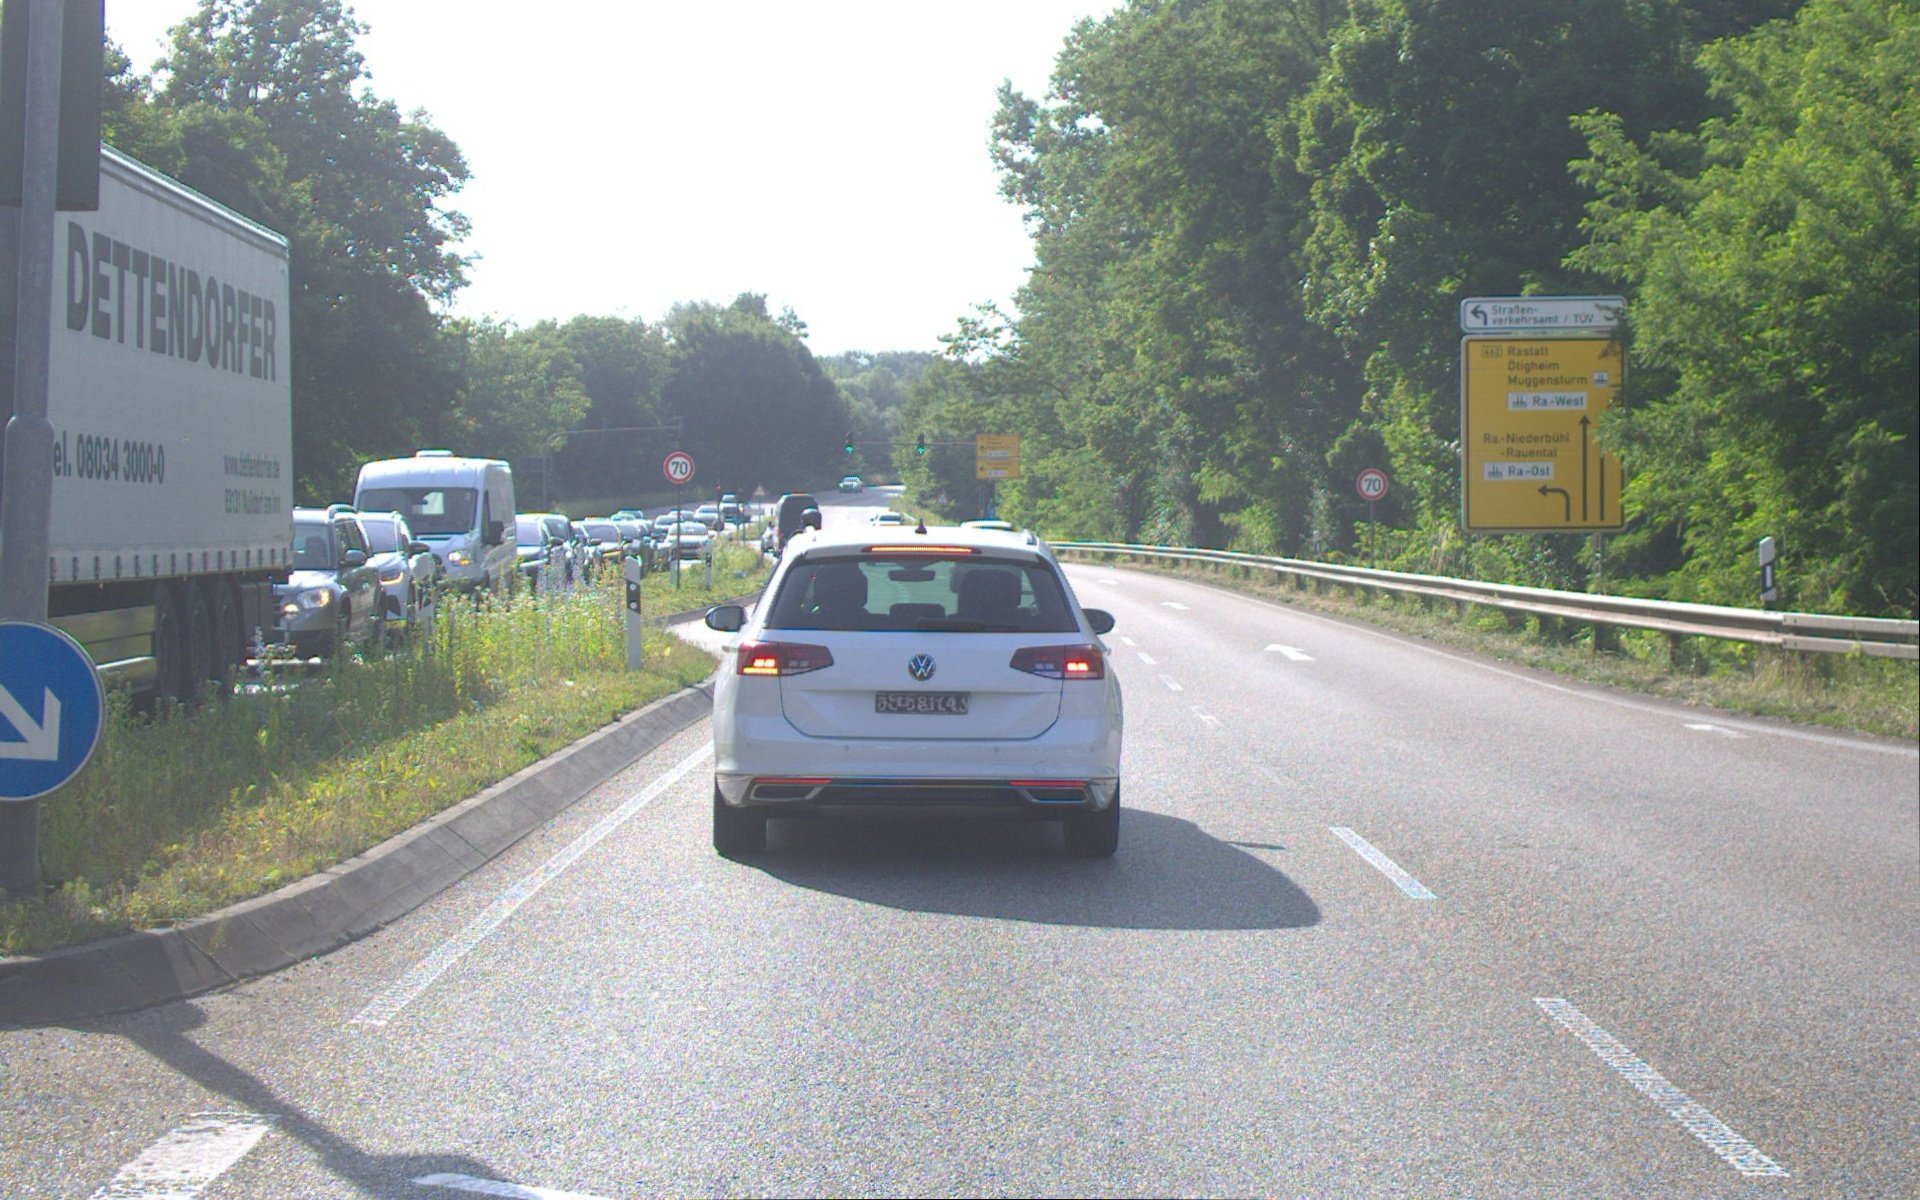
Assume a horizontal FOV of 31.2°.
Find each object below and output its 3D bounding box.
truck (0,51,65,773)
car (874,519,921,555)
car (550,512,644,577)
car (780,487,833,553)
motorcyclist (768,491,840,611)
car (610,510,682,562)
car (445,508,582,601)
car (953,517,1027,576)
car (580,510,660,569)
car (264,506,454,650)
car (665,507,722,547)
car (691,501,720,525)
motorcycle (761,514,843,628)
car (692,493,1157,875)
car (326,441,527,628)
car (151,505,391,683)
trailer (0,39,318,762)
[{"bbox_3d":[-6.643,-0.981,17.167,2.890,3.983,6.723,0,2,-3],"label":"truck"},{"bbox_3d":[-2.821,-2.833,154.845,1.744,1.532,3.927,1,2,-6],"label":"car"},{"bbox_3d":[-8.442,-1.316,80.323,1.771,1.418,5.193,-1,2,-1],"label":"car"},{"bbox_3d":[-6.849,-3.610,154.234,2.209,2.878,7.012,-1,2,-2],"label":"car"},{"bbox_3d":[-2.146,-0.689,47.439,0.884,1.610,1.290,2,2,1],"label":"motorcyclist"},{"bbox_3d":[-9.039,-1.872,99.227,1.767,1.412,4.435,-1,2,-1],"label":"car"},{"bbox_3d":[-7.516,-0.807,58.241,1.760,1.451,5.186,-1,2,-1],"label":"car"},{"bbox_3d":[0.742,-1.374,87.139,1.761,1.375,3.972,1,2,-1],"label":"car"},{"bbox_3d":[-8.610,-1.555,87.318,1.707,1.418,4.212,-1,2,-1],"label":"car"},{"bbox_3d":[-7.313,-0.320,42.190,1.700,1.626,4.748,-1,2,-3],"label":"car"},{"bbox_3d":[-9.879,-2.730,127.532,1.867,1.412,4.416,-1,2,-1],"label":"car"},{"bbox_3d":[-16.103,-5.501,217.461,1.788,1.406,4.228,1,2,-4],"label":"car"},{"bbox_3d":[-2.156,-0.426,47.315,0.909,1.448,2.689,-3,2,1],"label":"motorcycle"},{"bbox_3d":[-0.251,0.275,16.562,1.870,1.516,4.835,2,2,-3],"label":"car"},{"bbox_3d":[-7.668,-0.990,50.002,2.075,2.525,6.165,-1,2,-1],"label":"car"},{"bbox_3d":[-6.822,-0.119,34.428,1.700,1.626,4.371,-1,2,-3],"label":"car"},{"bbox_3d":[-7.040,-1.275,24.354,2.991,3.982,14.016,0,2,-3],"label":"trailer"}]
